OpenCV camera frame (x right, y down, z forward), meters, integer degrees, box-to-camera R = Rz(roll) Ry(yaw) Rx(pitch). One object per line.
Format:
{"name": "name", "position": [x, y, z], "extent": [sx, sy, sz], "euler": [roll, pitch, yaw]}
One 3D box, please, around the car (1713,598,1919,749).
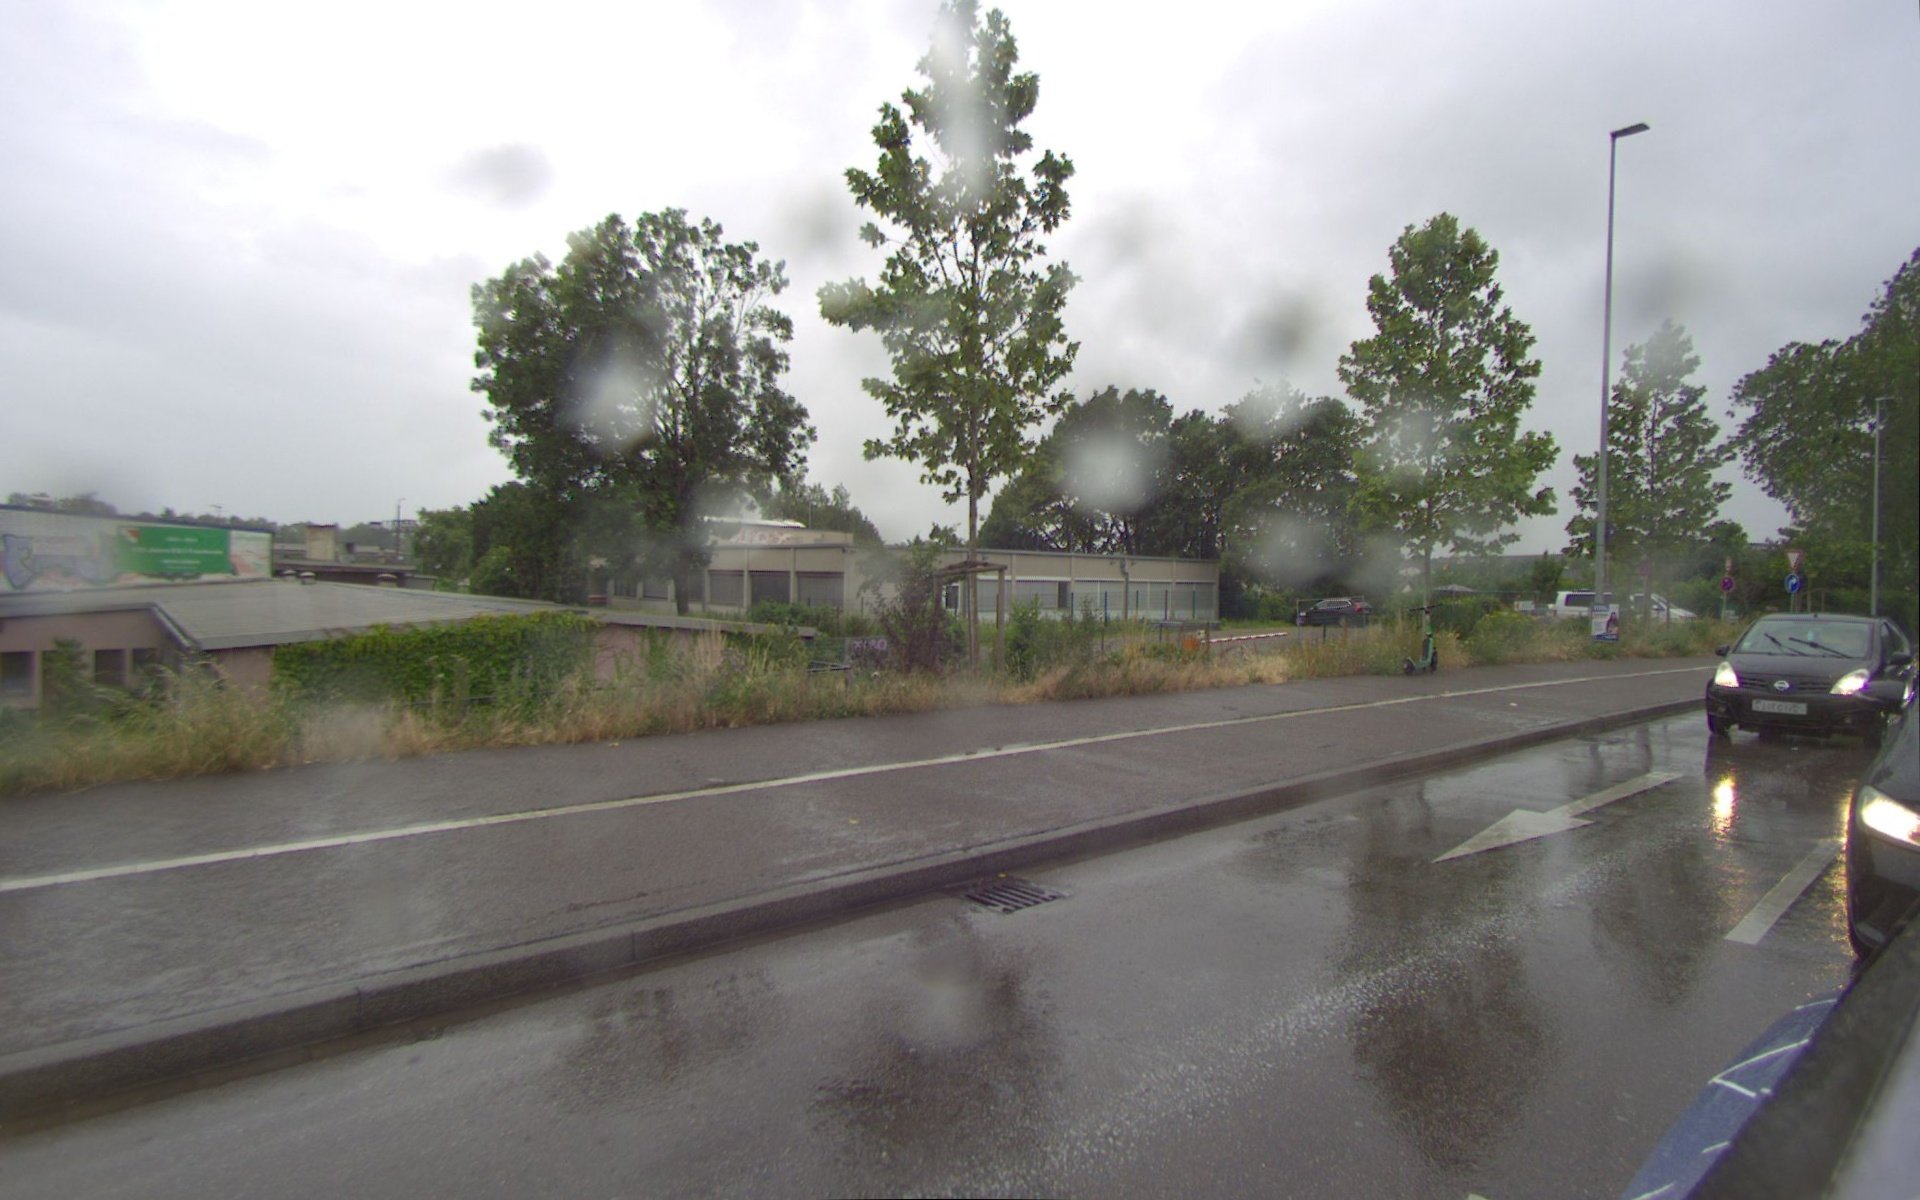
{"name": "car", "position": [10.448, 0.764, 12.112], "extent": [3.554, 1.528, 1.556], "euler": [0, 0, -40]}

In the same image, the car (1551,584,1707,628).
{"name": "car", "position": [28.068, 0.246, 42.586], "extent": [1.972, 1.747, 5.168], "euler": [0, 0, -42]}

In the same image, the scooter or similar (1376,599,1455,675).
{"name": "scooter or similar", "position": [7.667, 0.589, 17.003], "extent": [1.877, 1.214, 0.367], "euler": [0, 0, -38]}

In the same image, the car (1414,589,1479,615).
{"name": "car", "position": [31.022, 0.148, 64.552], "extent": [1.319, 1.604, 3.555], "euler": [0, 0, -35]}

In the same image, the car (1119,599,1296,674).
{"name": "car", "position": [4.685, 0.647, 19.487], "extent": [1.319, 1.304, 3.246], "euler": [0, 0, -35]}

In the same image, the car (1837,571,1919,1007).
{"name": "car", "position": [5.548, 0.720, 4.413], "extent": [4.090, 1.601, 1.759], "euler": [1, 0, -36]}
